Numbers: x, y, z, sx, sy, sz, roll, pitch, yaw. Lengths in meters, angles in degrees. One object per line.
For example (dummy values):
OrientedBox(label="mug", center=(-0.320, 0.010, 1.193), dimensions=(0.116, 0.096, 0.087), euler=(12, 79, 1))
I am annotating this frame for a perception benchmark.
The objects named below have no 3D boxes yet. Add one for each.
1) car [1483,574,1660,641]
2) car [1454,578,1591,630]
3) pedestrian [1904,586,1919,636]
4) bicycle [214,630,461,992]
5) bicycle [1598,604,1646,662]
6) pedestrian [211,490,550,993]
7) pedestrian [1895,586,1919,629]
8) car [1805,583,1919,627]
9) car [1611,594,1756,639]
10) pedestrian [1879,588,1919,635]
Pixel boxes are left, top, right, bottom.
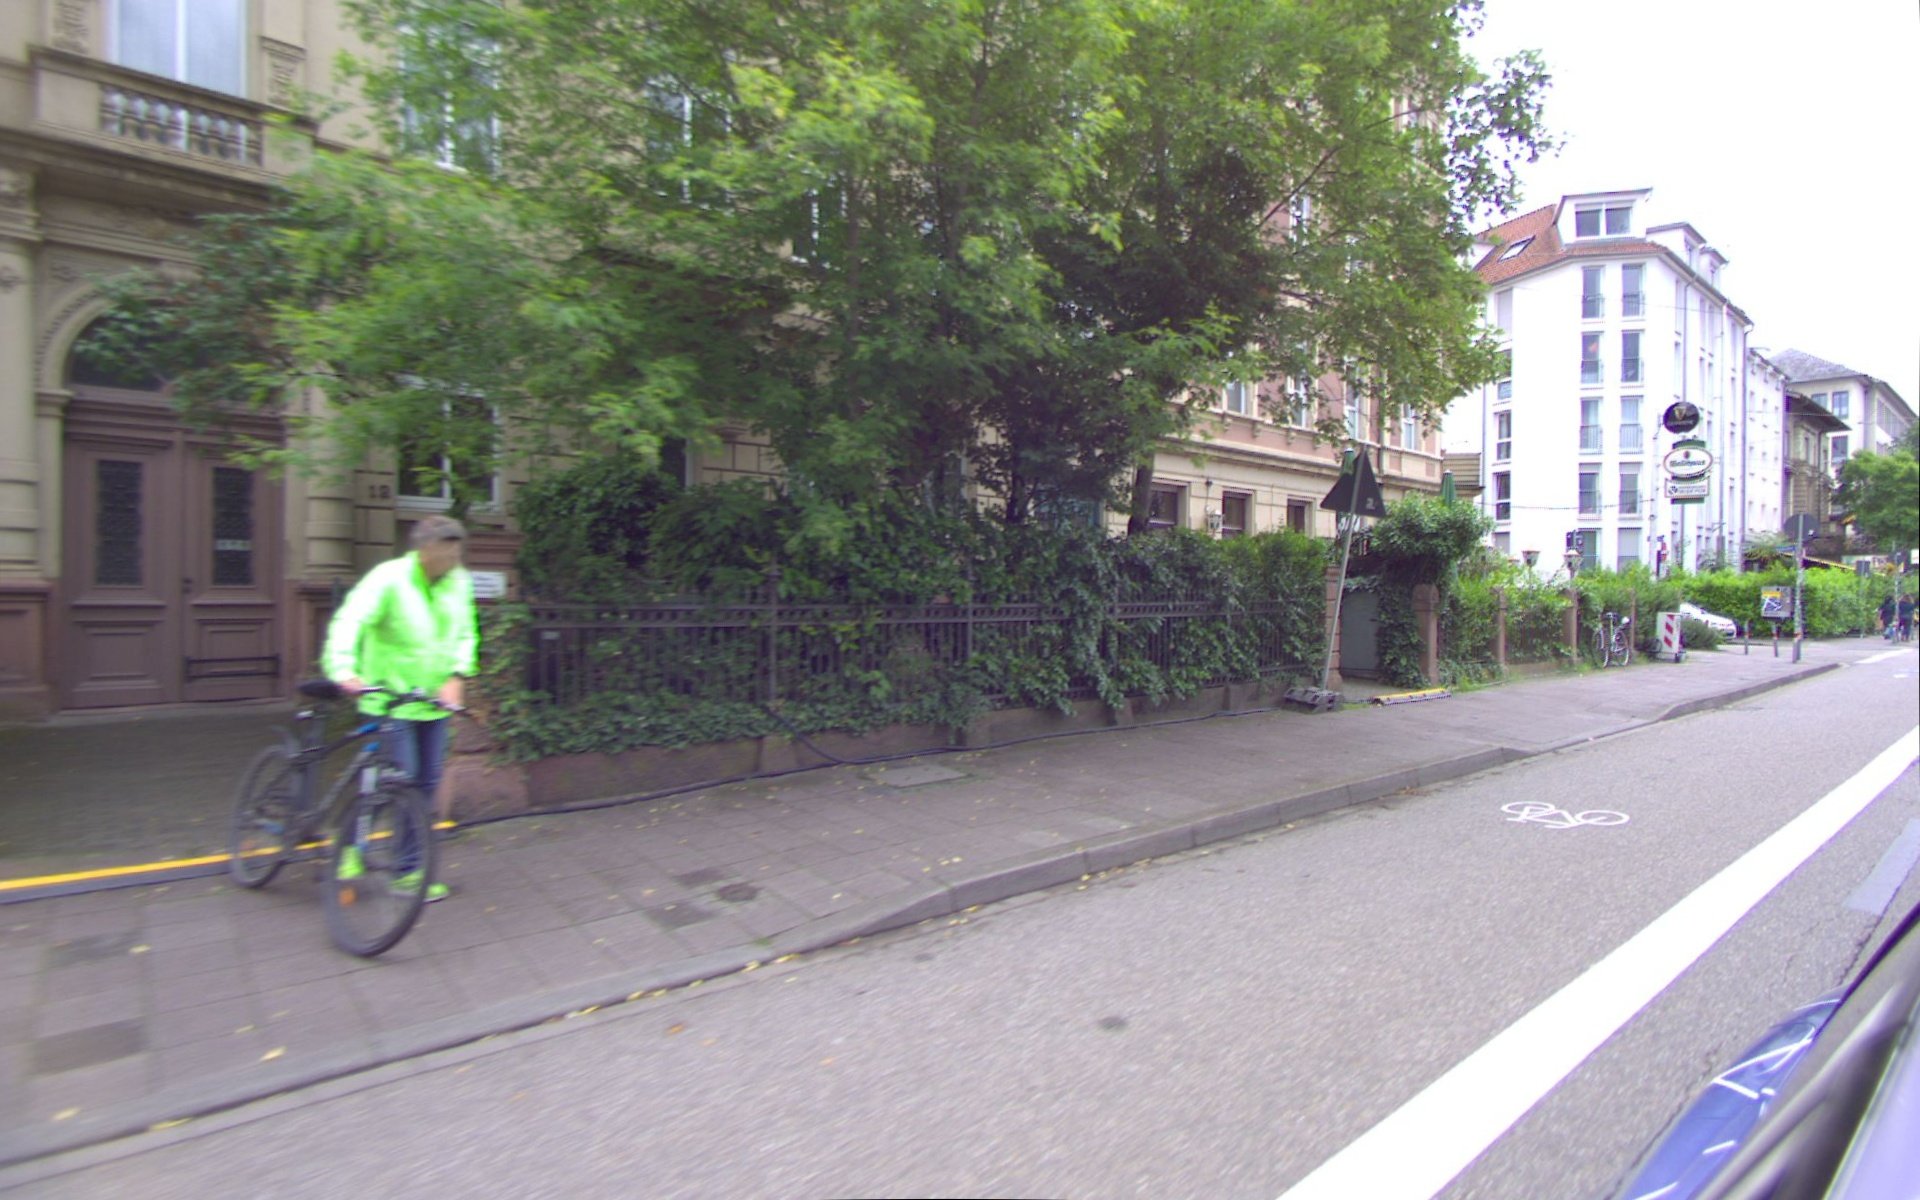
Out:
OrientedBox(label="car", center=(18.585, 0.200, 30.760), dimensions=(4.924, 1.901, 2.063), euler=(0, 1, -22))
OrientedBox(label="car", center=(22.827, 0.121, 41.301), dimensions=(1.935, 1.963, 4.755), euler=(2, 0, -19))
OrientedBox(label="pedestrian", center=(32.554, 0.369, 34.242), dimensions=(0.872, 1.677, 0.895), euler=(0, 0, 41))
OrientedBox(label="bicycle", center=(-2.785, 0.767, 4.427), dimensions=(0.596, 1.089, 1.845), euler=(0, 4, -42))
OrientedBox(label="bicycle", center=(12.724, 0.607, 19.424), dimensions=(1.816, 1.055, 0.302), euler=(0, 0, -42))
OrientedBox(label="pedestrian", center=(-2.487, 0.452, 4.298), dimensions=(1.000, 1.753, 1.231), euler=(0, 4, -41))
OrientedBox(label="pedestrian", center=(38.566, 0.312, 41.173), dimensions=(0.943, 1.691, 0.624), euler=(0, 3, -42))
OrientedBox(label="car", center=(41.579, 0.213, 46.214), dimensions=(1.790, 1.831, 4.291), euler=(0, 2, -39))
OrientedBox(label="car", center=(24.921, 0.526, 35.004), dimensions=(1.636, 1.449, 3.829), euler=(1, 0, -18))
OrientedBox(label="pedestrian", center=(34.067, 0.391, 36.724), dimensions=(0.819, 1.656, 0.797), euler=(0, 2, -25))
